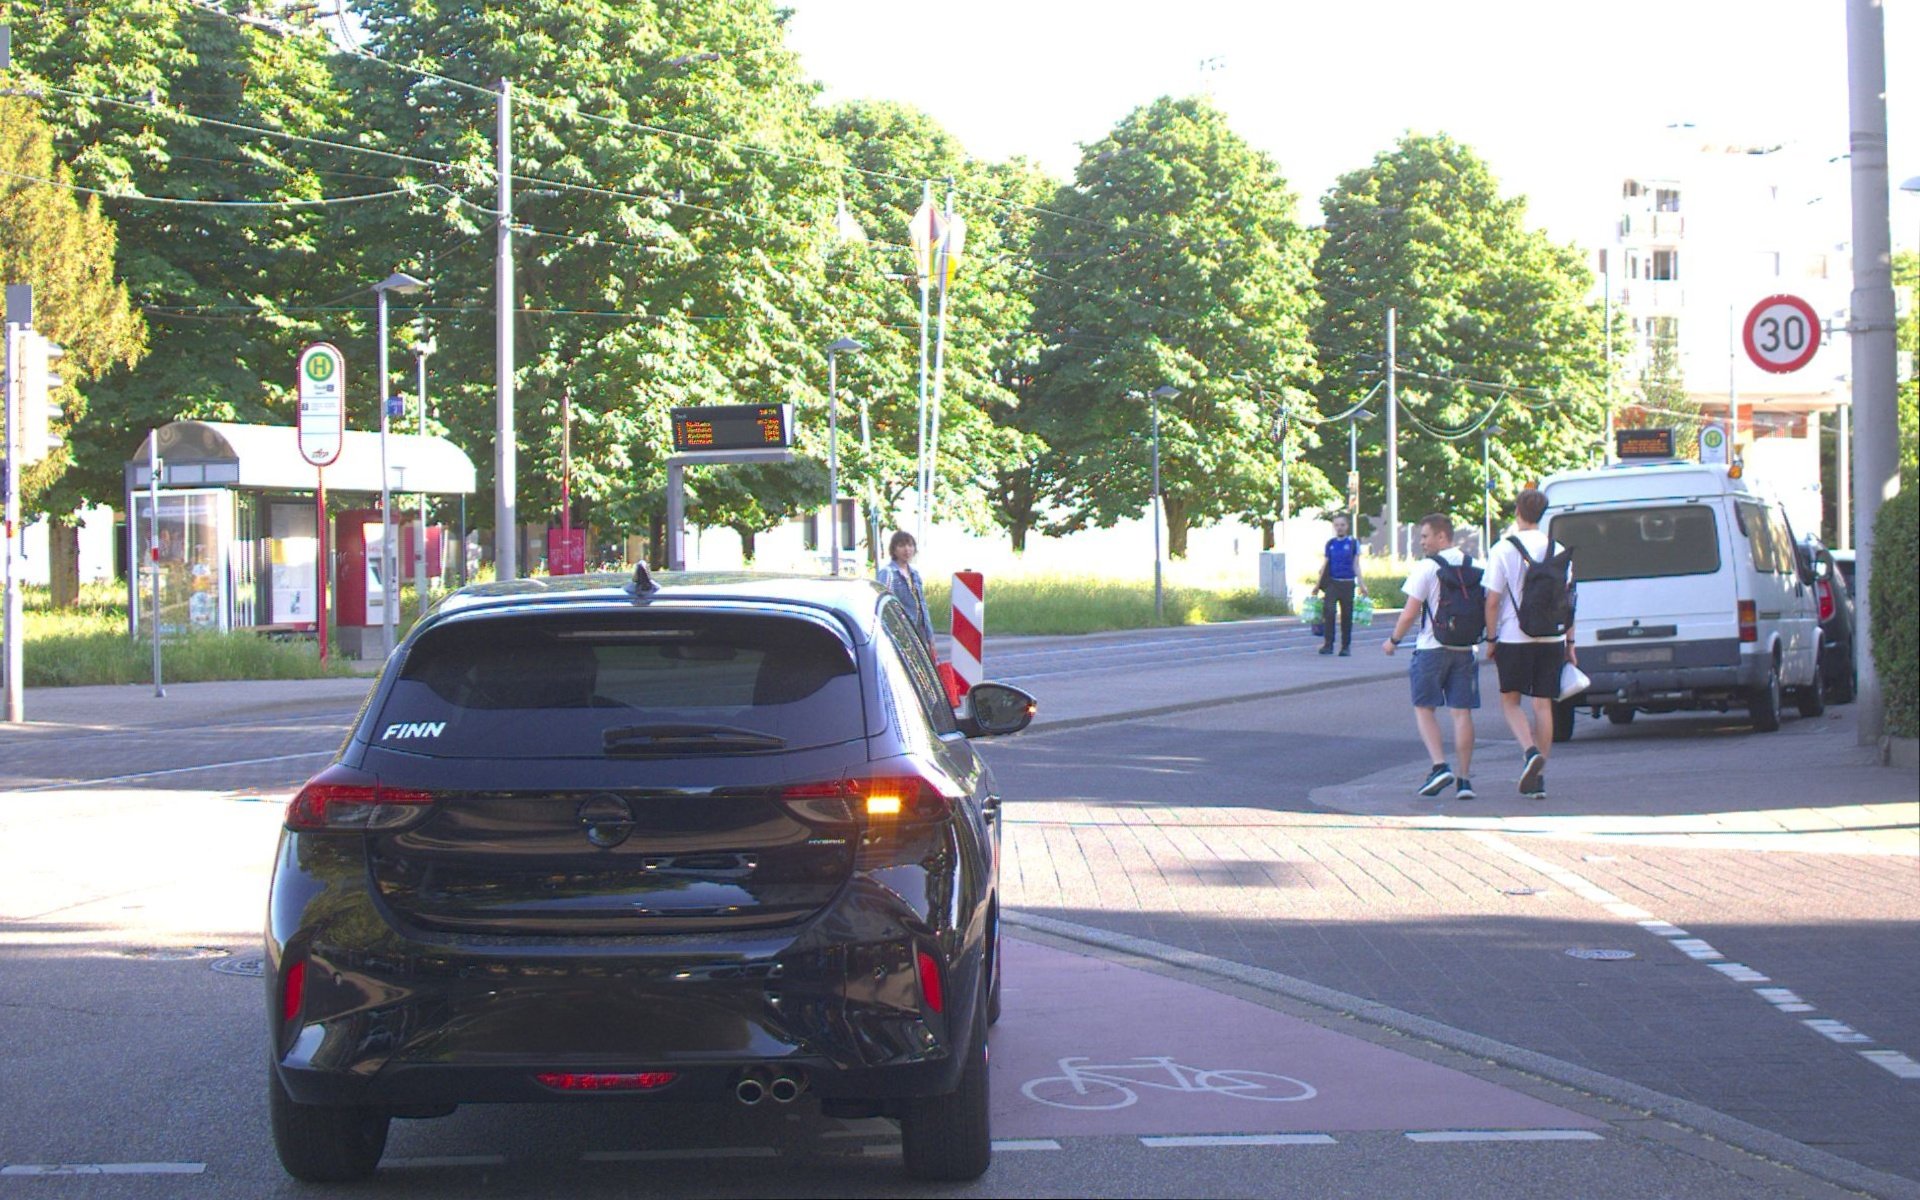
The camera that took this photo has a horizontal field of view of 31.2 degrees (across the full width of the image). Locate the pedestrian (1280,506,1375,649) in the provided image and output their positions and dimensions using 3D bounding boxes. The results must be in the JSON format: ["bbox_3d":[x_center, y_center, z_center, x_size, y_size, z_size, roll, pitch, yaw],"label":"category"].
[{"bbox_3d":[4.675,-0.285,43.698,0.959,1.787,0.994,0,1,22],"label":"pedestrian"}]

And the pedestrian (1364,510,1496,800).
[{"bbox_3d":[2.946,0.334,21.587,0.698,1.786,0.617,-1,1,-4],"label":"pedestrian"}]

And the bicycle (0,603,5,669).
[{"bbox_3d":[-14.016,0.499,46.737,1.877,0.903,0.659,0,1,4],"label":"bicycle"}]

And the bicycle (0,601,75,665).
[{"bbox_3d":[-13.763,0.470,49.483,1.877,0.903,0.659,0,1,4],"label":"bicycle"}]

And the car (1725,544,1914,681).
[{"bbox_3d":[9.882,0.109,39.359,1.802,1.471,3.936,0,1,18],"label":"car"}]

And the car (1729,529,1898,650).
[{"bbox_3d":[10.984,-0.157,44.099,1.802,1.471,3.936,0,1,18],"label":"car"}]

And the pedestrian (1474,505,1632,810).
[{"bbox_3d":[3.658,0.339,21.198,0.704,1.840,0.699,0,1,36],"label":"pedestrian"}]

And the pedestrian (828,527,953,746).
[{"bbox_3d":[-0.550,0.276,27.116,0.698,1.687,0.728,-1,1,-31],"label":"pedestrian"}]

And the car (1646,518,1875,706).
[{"bbox_3d":[8.020,0.086,34.210,1.802,1.757,3.887,0,1,19],"label":"car"}]

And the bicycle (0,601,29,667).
[{"bbox_3d":[-13.927,0.475,47.614,1.877,0.903,0.659,0,1,4],"label":"bicycle"}]

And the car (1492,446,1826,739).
[{"bbox_3d":[5.979,-0.055,29.005,2.091,2.270,4.301,1,0,21],"label":"car"}]

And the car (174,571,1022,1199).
[{"bbox_3d":[-0.784,0.661,9.332,1.800,1.436,3.940,-1,1,0],"label":"car"}]

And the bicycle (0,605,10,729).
[{"bbox_3d":[-8.624,0.589,28.820,0.825,1.056,1.883,0,1,-1],"label":"bicycle"}]
